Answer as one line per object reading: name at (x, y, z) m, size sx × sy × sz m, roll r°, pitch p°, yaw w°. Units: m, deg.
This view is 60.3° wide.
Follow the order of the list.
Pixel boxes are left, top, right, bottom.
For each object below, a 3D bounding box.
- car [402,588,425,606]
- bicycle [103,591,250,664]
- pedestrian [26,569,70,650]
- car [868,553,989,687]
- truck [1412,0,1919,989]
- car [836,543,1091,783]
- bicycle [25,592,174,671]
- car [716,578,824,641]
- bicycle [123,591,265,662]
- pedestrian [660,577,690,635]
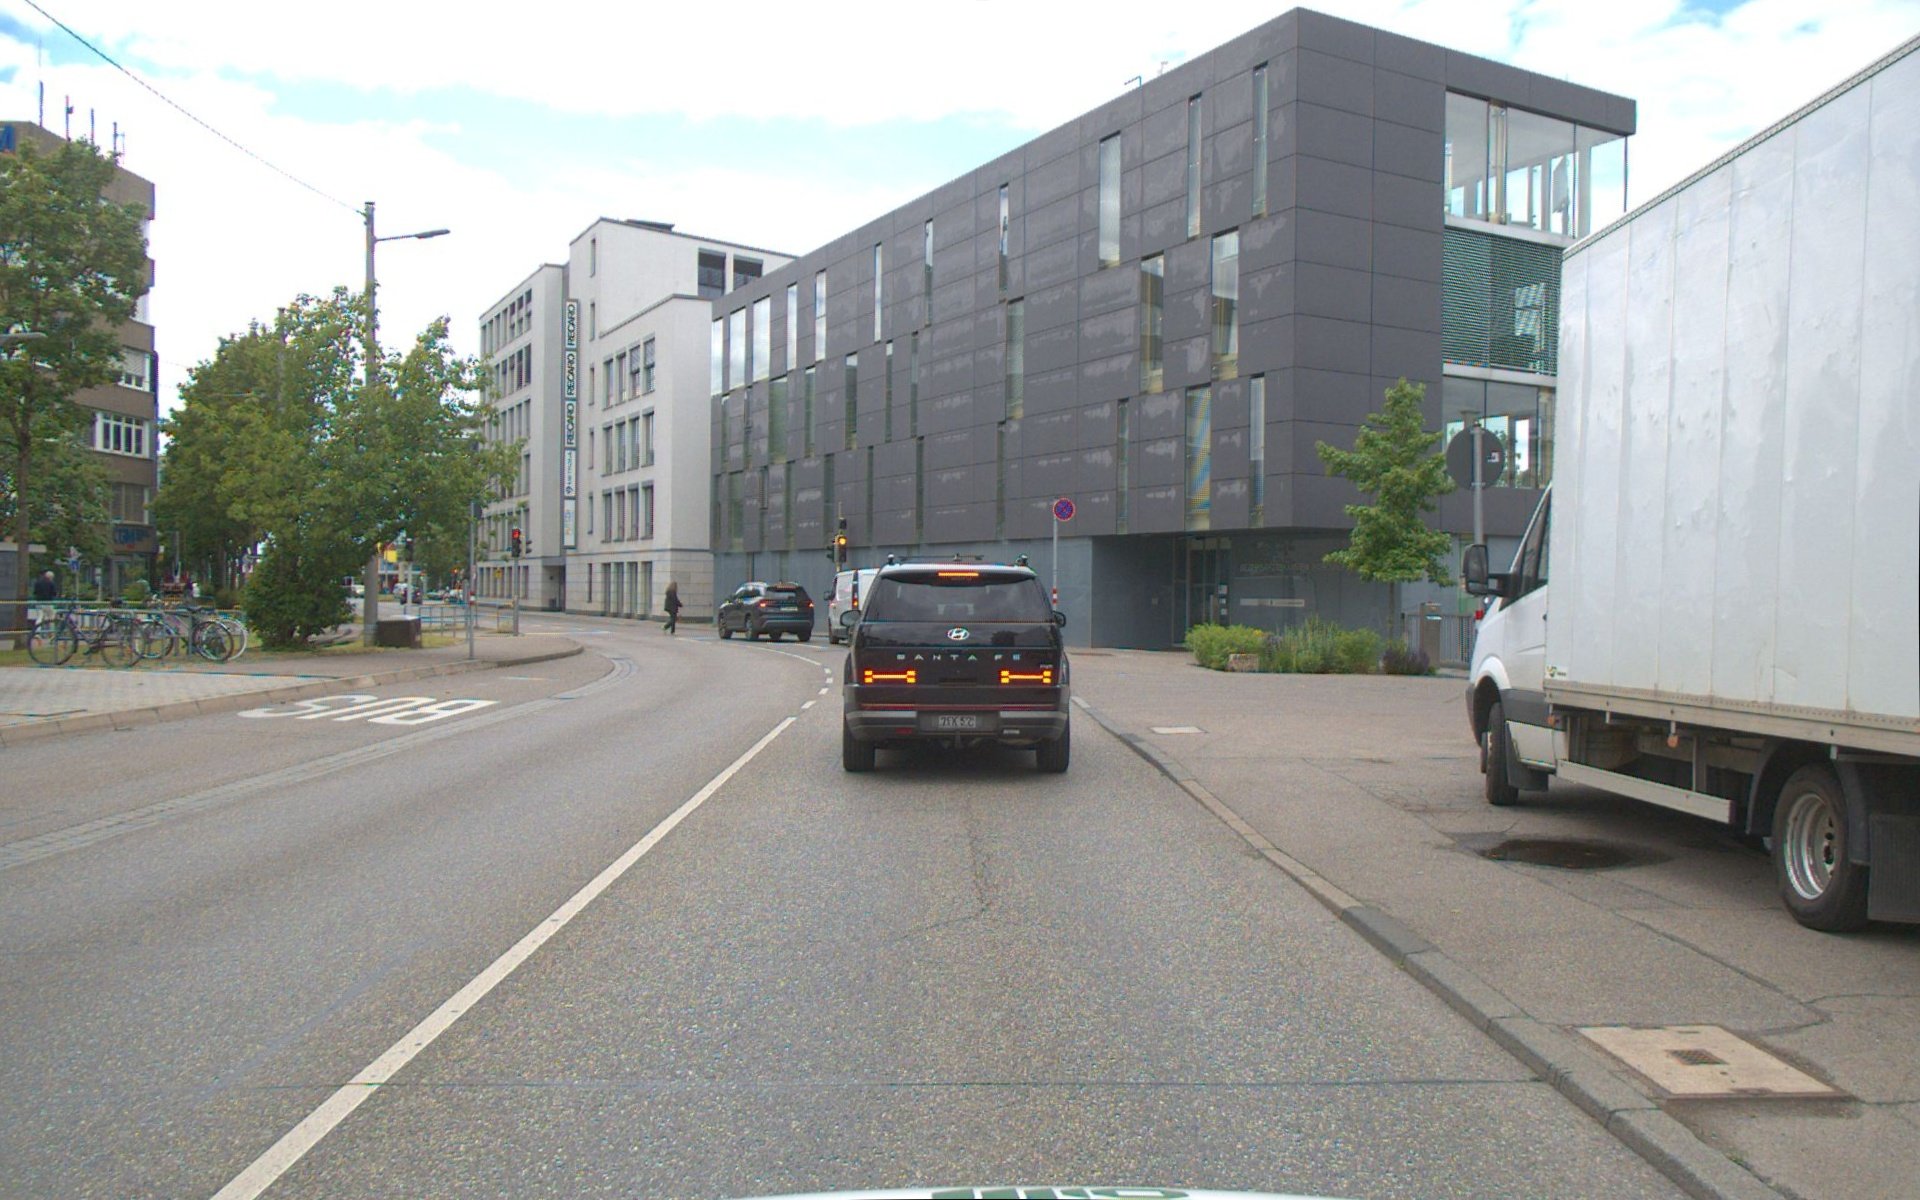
car at (-46.165, -0.233, 139.725) m, size 1.870 × 1.512 × 3.979 m, roll 0°, pitch 0°, yaw -19°
bicycle at (-12.786, 0.443, 27.017) m, size 2.056 × 1.125 × 0.631 m, roll 1°, pitch 0°, yaw 0°
pedestrian at (-23.609, 0.239, 42.845) m, size 0.755 × 2.049 × 0.885 m, roll 3°, pitch -1°, yaw -20°
car at (-0.605, 0.276, 27.847) m, size 1.819 × 2.069 × 4.434 m, roll 0°, pitch 1°, yaw -4°
truck at (4.665, -0.431, 8.549) m, size 2.520 × 3.587 × 7.810 m, roll 0°, pitch 0°, yaw 0°
car at (-0.103, 0.465, 14.572) m, size 1.877 × 1.755 × 4.167 m, roll 2°, pitch 0°, yaw -4°
bicycle at (-12.886, 0.471, 24.788) m, size 1.889 × 1.125 × 0.587 m, roll 1°, pitch 0°, yaw 0°
car at (-5.550, 0.273, 47.856) m, size 1.824 × 1.706 × 4.340 m, roll -1°, pitch 0°, yaw -25°
bicycle at (-12.851, 0.439, 27.776) m, size 2.056 × 1.125 × 0.631 m, roll 1°, pitch 0°, yaw 0°
pedestrian at (-9.107, 0.201, 52.768) m, size 0.922 × 1.832 × 0.589 m, roll 0°, pitch 0°, yaw -13°
